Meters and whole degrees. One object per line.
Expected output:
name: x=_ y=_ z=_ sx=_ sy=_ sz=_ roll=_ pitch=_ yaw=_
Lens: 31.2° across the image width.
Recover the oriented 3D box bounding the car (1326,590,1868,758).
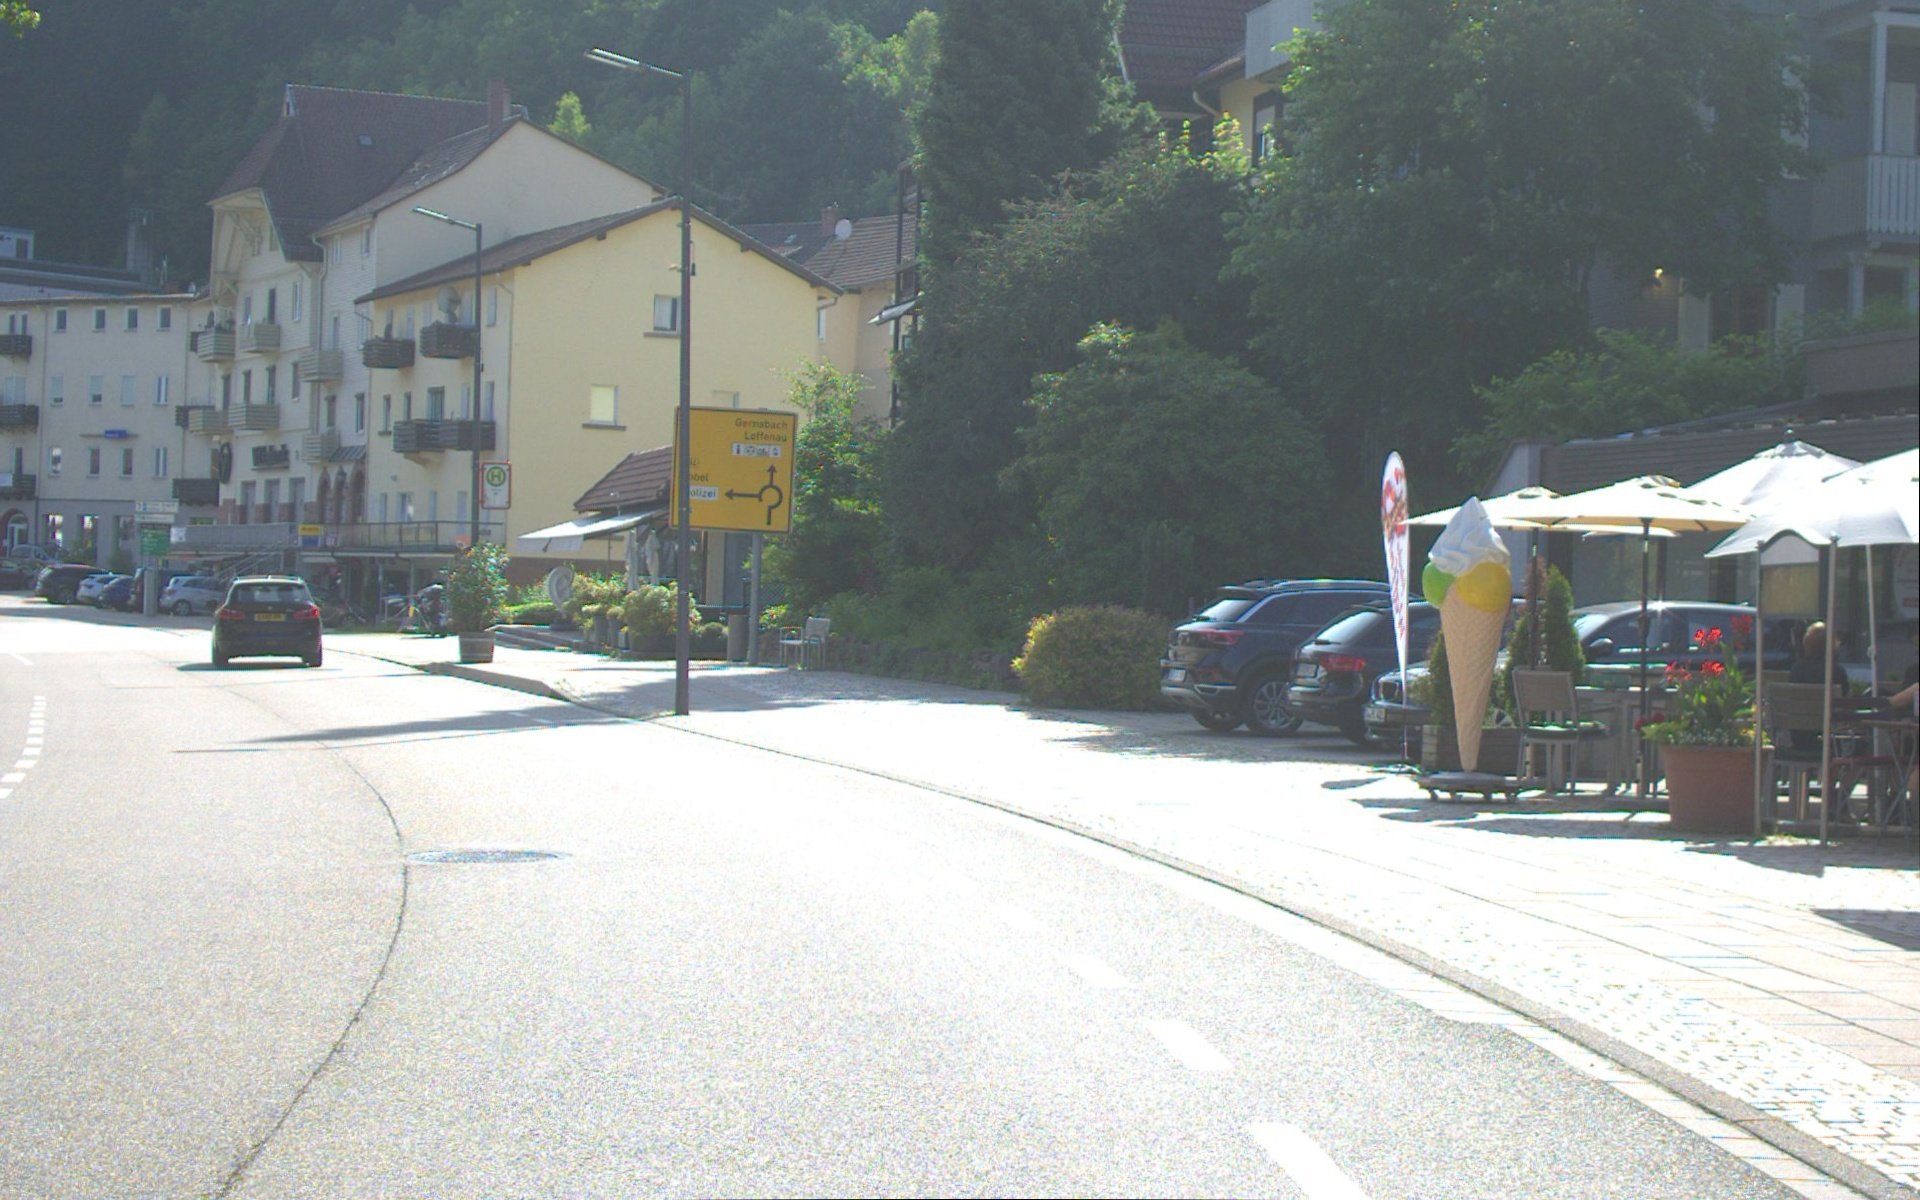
car: x=5.474 y=0.627 z=29.705 sx=4.261 sy=1.374 sz=1.710 roll=1 pitch=0 yaw=-13

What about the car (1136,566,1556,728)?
car: x=3.911 y=0.470 z=35.060 sx=3.874 sy=1.574 sz=1.749 roll=1 pitch=0 yaw=-13

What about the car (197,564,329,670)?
car: x=-12.030 y=0.274 z=59.177 sx=1.726 sy=1.569 sz=3.754 roll=3 pitch=2 yaw=-18

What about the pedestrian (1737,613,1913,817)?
pedestrian: x=5.488 y=0.718 z=21.832 sx=0.809 sy=1.256 sz=0.701 roll=0 pitch=0 yaw=-22

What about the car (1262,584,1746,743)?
car: x=5.067 y=0.587 z=32.215 sx=4.108 sy=1.410 sz=1.749 roll=1 pitch=0 yaw=-13

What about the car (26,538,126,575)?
car: x=-39.786 y=-1.965 z=154.844 sx=4.012 sy=1.511 sz=1.772 roll=-2 pitch=4 yaw=-44

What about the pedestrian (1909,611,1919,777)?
pedestrian: x=7.738 y=0.724 z=26.624 sx=0.698 sy=1.256 sz=0.812 roll=1 pitch=0 yaw=13

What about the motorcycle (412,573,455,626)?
motorcycle: x=-13.235 y=-0.009 z=86.437 sx=0.697 sy=1.292 sz=2.213 roll=-1 pitch=1 yaw=-18

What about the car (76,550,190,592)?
car: x=-34.419 y=-1.201 z=143.125 sx=4.355 sy=1.456 sz=1.773 roll=3 pitch=-2 yaw=-22

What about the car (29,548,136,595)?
car: x=-37.539 y=-1.215 z=147.017 sx=4.083 sy=1.660 sz=1.773 roll=5 pitch=-1 yaw=-24

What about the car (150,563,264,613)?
car: x=-29.014 y=-0.455 z=132.399 sx=3.908 sy=1.584 sz=1.775 roll=4 pitch=0 yaw=-24

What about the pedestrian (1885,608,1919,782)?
pedestrian: x=7.246 y=0.697 z=25.489 sx=0.698 sy=1.256 sz=0.812 roll=1 pitch=0 yaw=13
